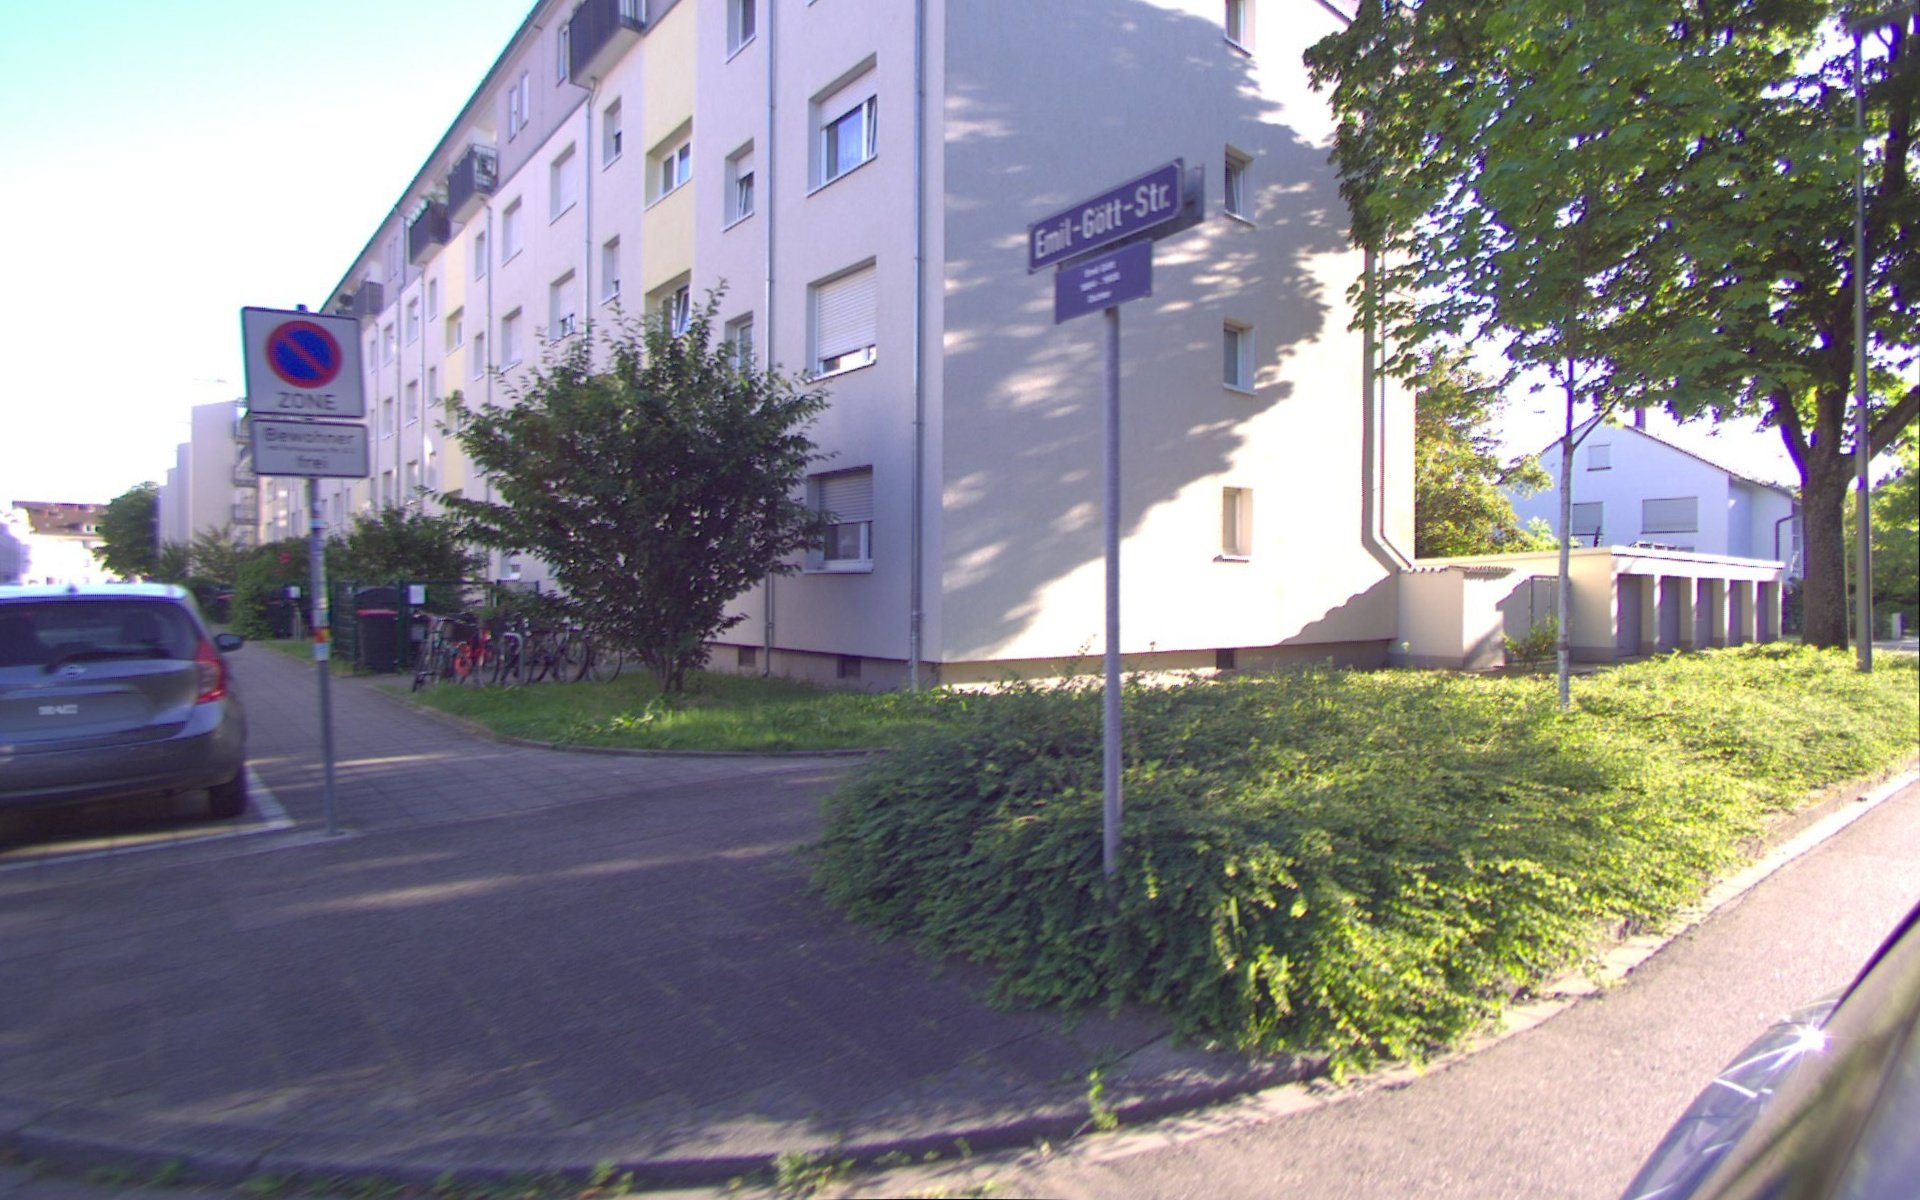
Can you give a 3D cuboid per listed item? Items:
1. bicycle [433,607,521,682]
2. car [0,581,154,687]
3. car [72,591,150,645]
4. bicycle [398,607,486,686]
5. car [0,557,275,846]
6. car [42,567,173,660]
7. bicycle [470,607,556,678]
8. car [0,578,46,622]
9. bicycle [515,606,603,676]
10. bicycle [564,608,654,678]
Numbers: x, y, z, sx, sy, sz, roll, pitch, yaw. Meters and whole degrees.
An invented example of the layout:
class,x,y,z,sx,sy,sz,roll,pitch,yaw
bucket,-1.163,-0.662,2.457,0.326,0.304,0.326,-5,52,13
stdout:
class,x,y,z,sx,sy,sz,roll,pitch,yaw
bicycle,-6.859,0.594,14.327,0.536,0.971,1.971,1,0,-43
car,-14.190,0.505,16.384,1.718,1.513,3.498,1,-1,-39
car,-28.897,0.585,34.426,1.866,1.688,3.770,2,-1,-42
bicycle,-6.976,0.590,13.586,0.536,0.971,1.903,1,0,-43
car,-6.174,0.538,7.161,1.697,1.533,4.046,-1,1,-41
car,-17.193,0.218,20.378,1.866,1.688,3.770,0,0,-42
bicycle,-6.642,0.600,14.981,0.536,0.971,1.971,1,0,-43
car,-31.966,0.011,33.969,1.718,1.409,3.498,1,-1,-39
bicycle,-6.047,0.590,15.196,0.536,0.971,1.971,1,0,-43
bicycle,-5.347,0.618,15.359,0.536,0.971,1.971,1,0,-43
